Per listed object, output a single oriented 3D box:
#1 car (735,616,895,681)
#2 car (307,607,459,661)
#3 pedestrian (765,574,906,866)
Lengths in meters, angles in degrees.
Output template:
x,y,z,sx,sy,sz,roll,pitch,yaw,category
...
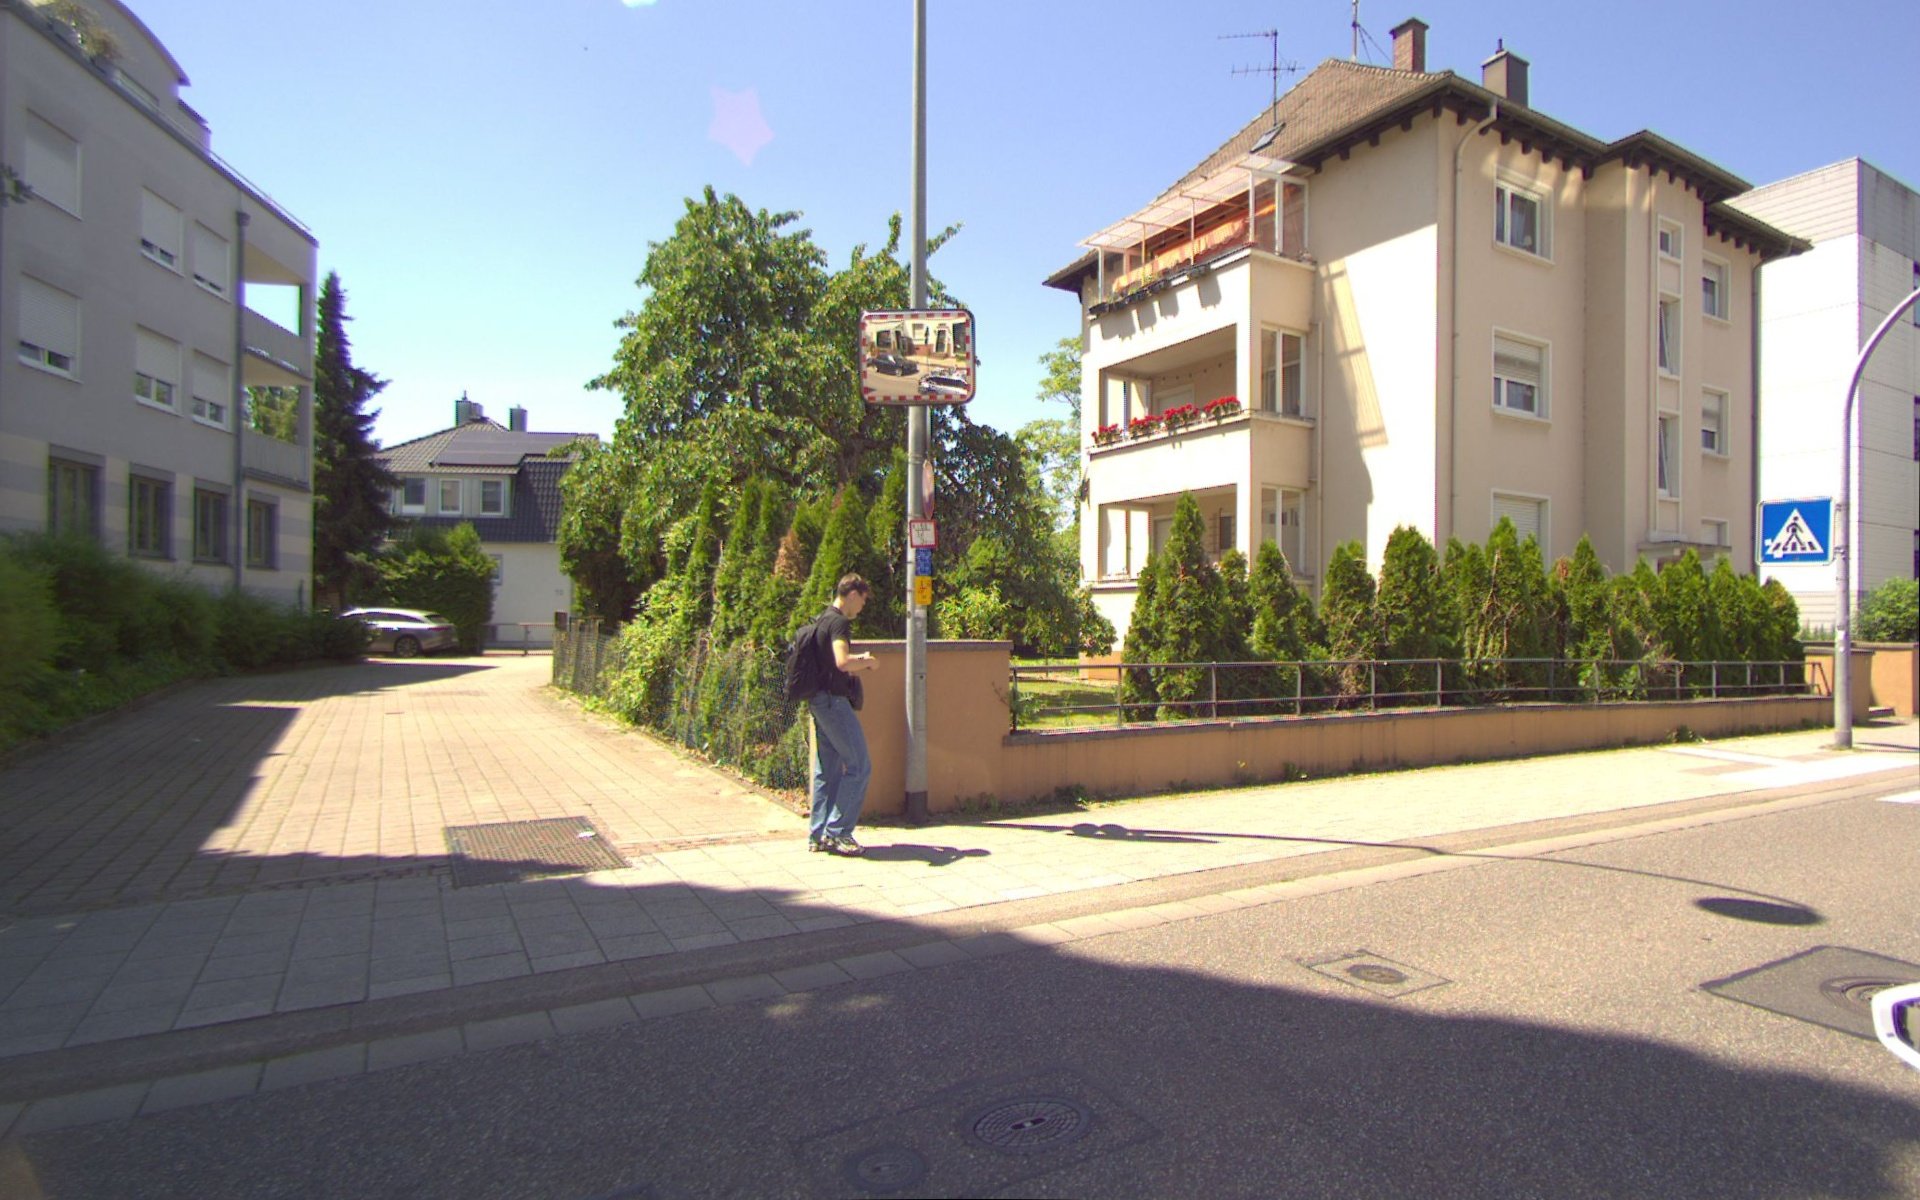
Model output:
x,y,z,sx,sy,sz,roll,pitch,yaw,category
-3.438,1.127,23.923,3.377,1.439,1.703,1,-1,-31,car
-16.913,0.997,29.575,3.550,1.501,1.496,1,-1,-12,car
-0.779,0.711,6.284,0.700,1.707,0.534,1,-1,-30,pedestrian
